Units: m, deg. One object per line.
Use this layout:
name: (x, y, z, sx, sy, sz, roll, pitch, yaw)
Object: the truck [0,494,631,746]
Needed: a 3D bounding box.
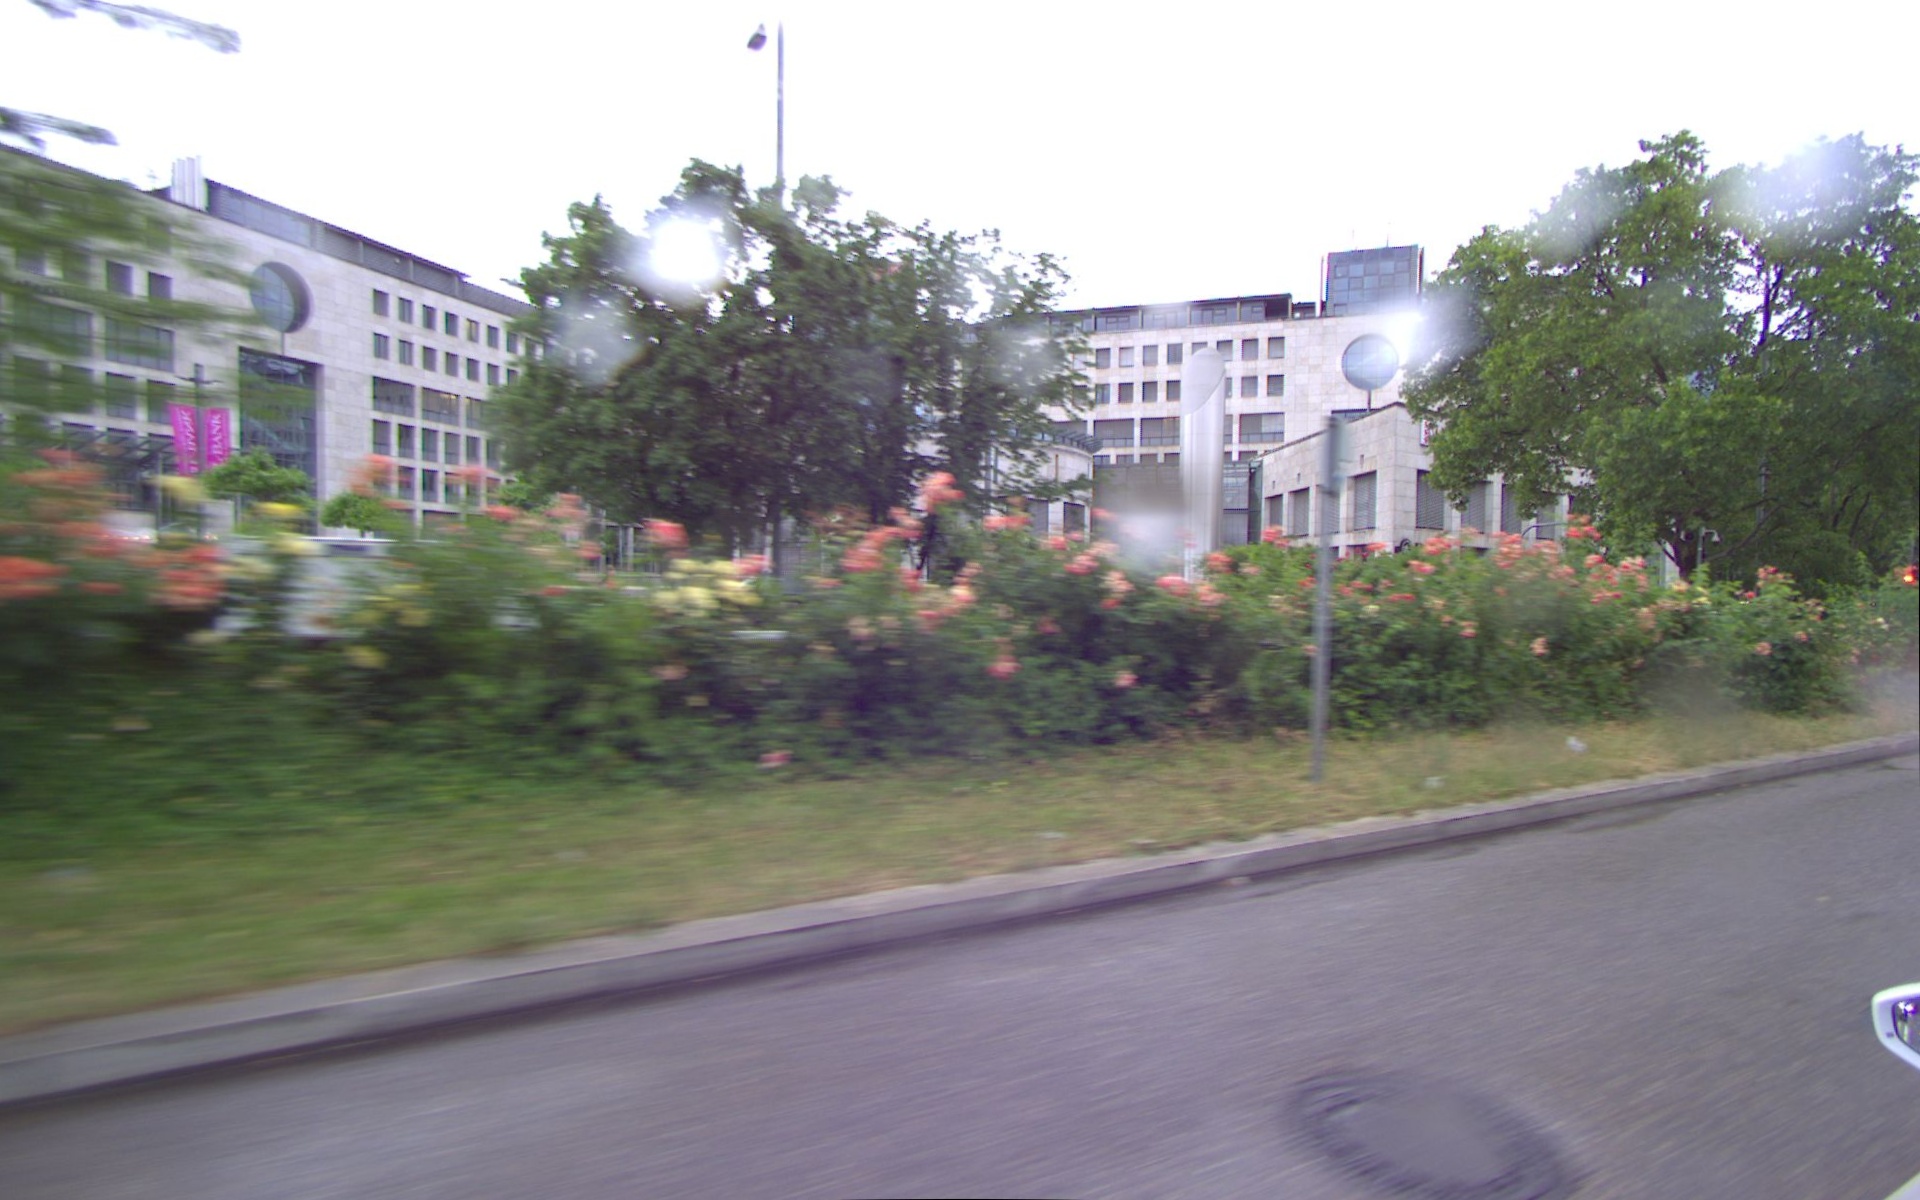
truck: (-8.615, 0.213, 12.464, 8.355, 2.544, 3.359, 1, 1, -23)
